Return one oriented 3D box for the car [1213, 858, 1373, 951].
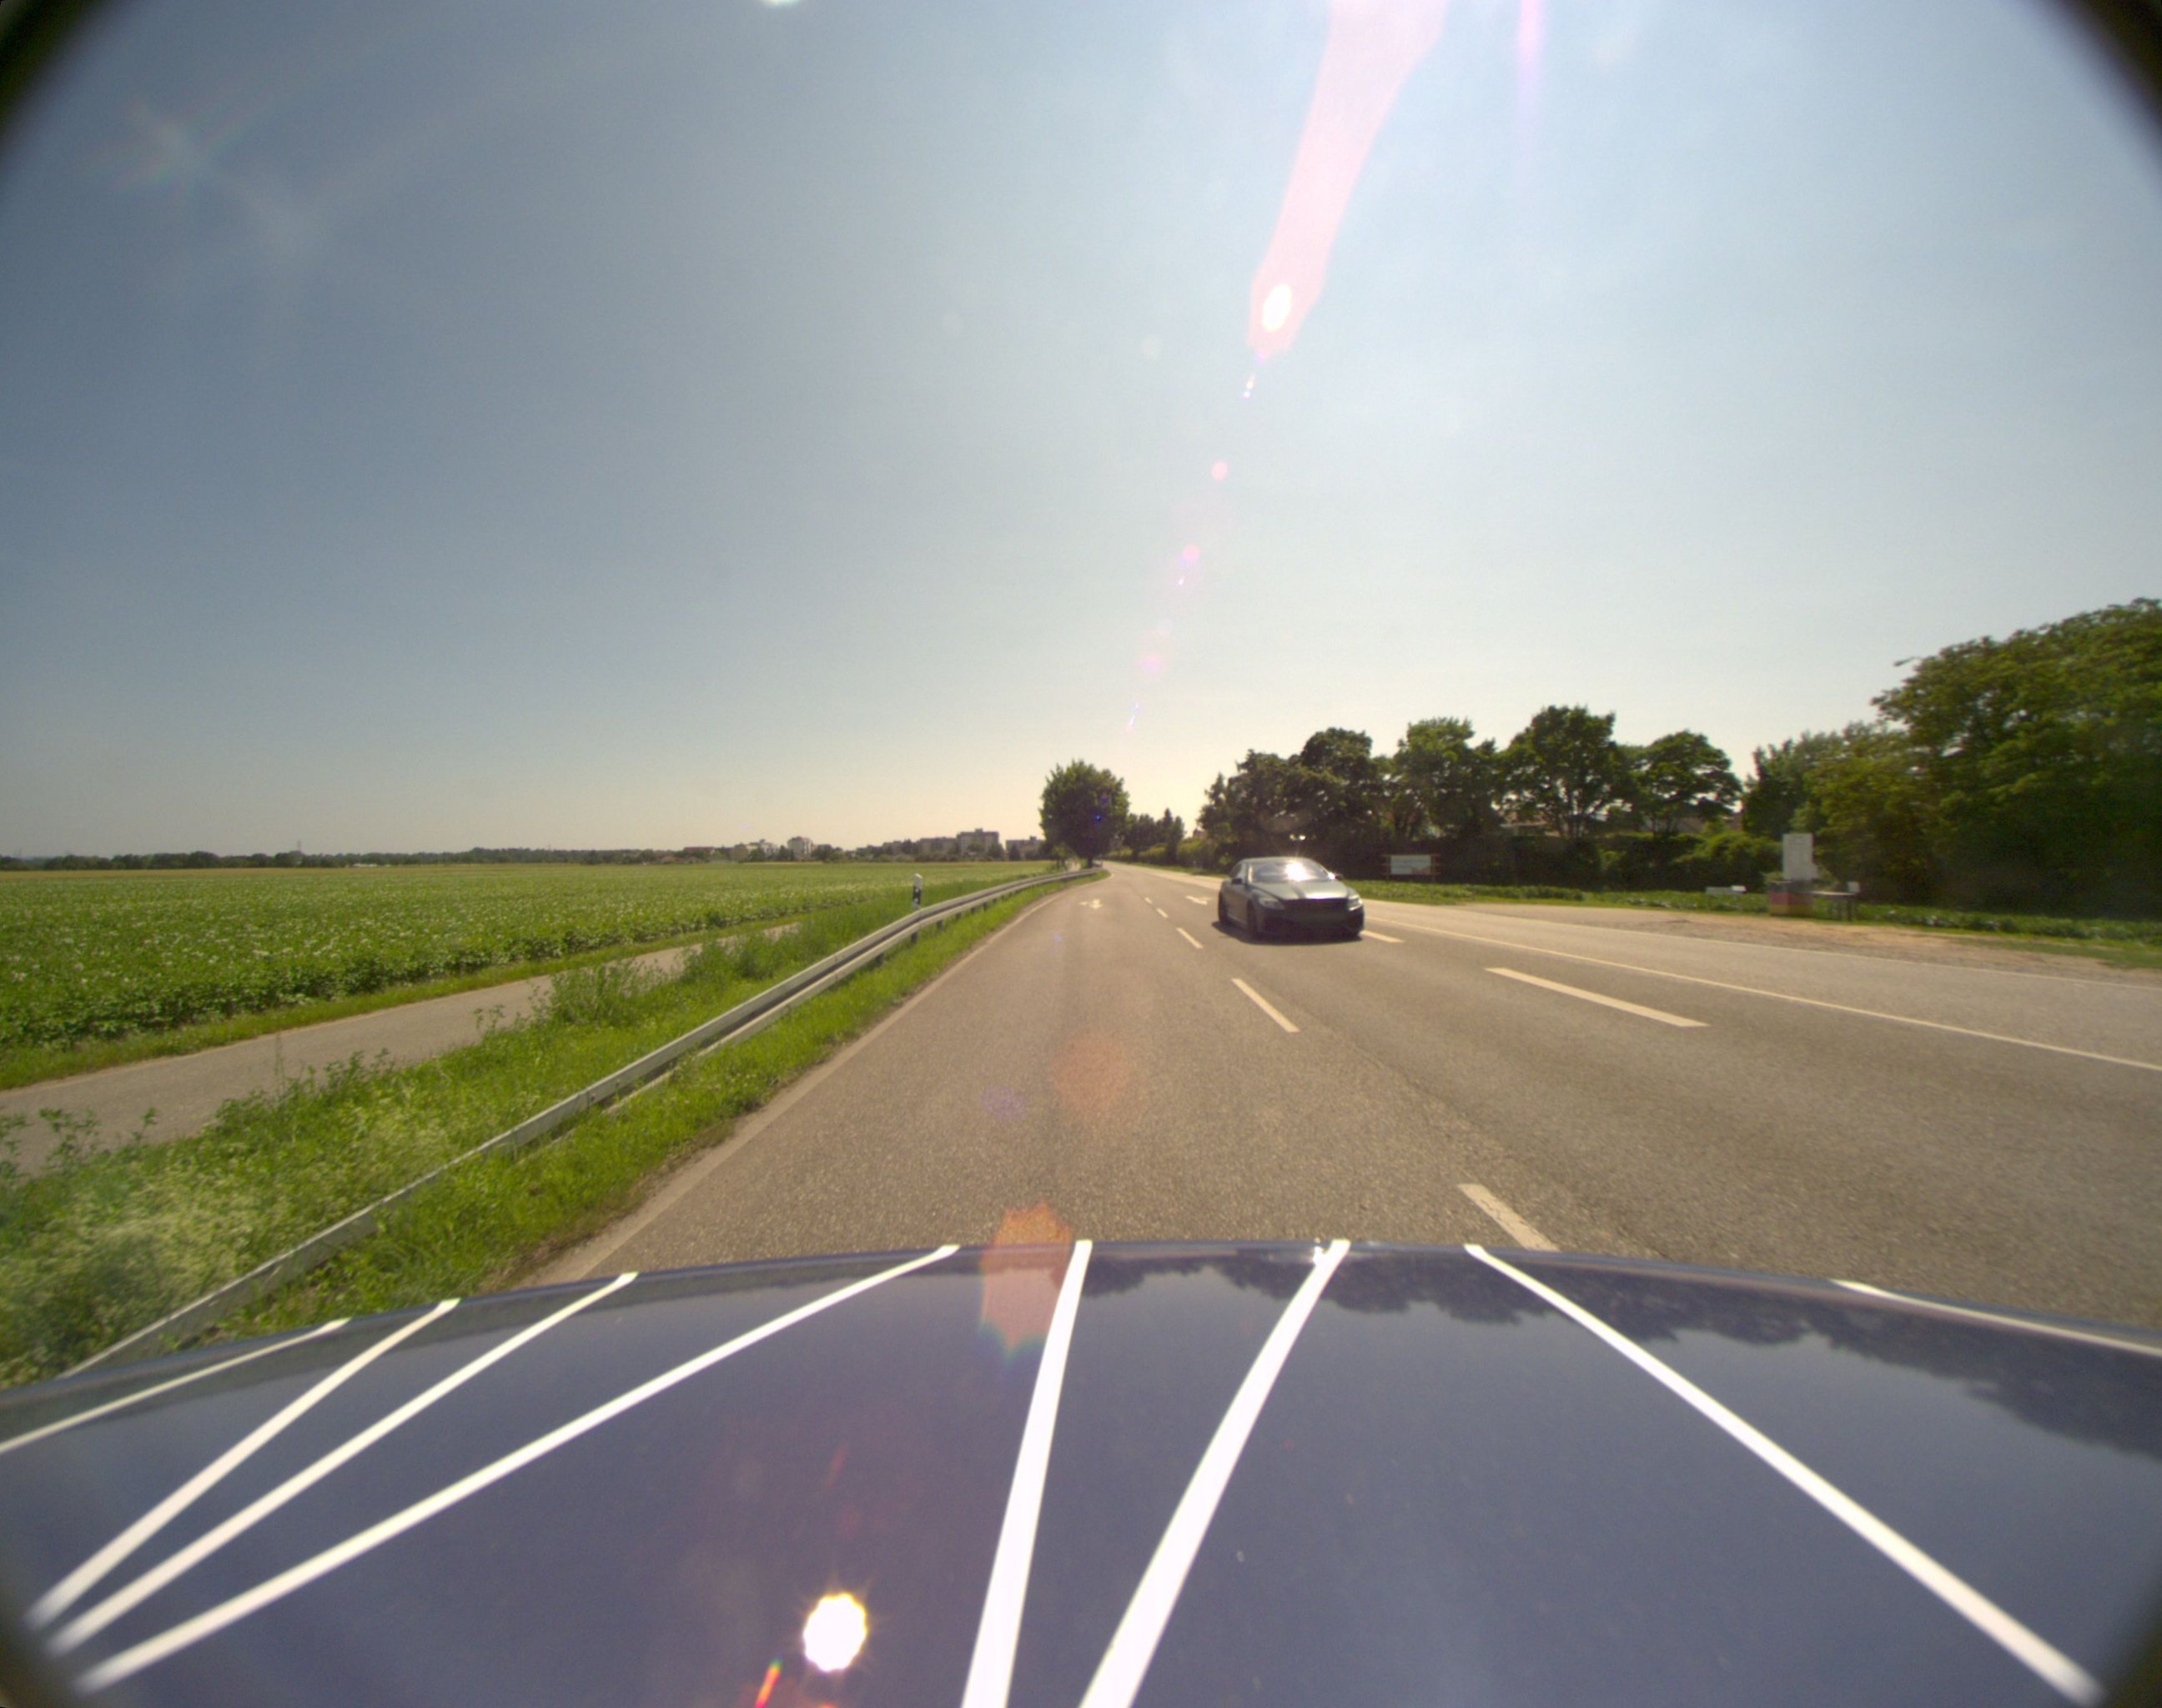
[{"bbox_3d":[3.891,0.837,14.867,1.815,1.441,4.877,-2,0,1],"label":"car"}]
